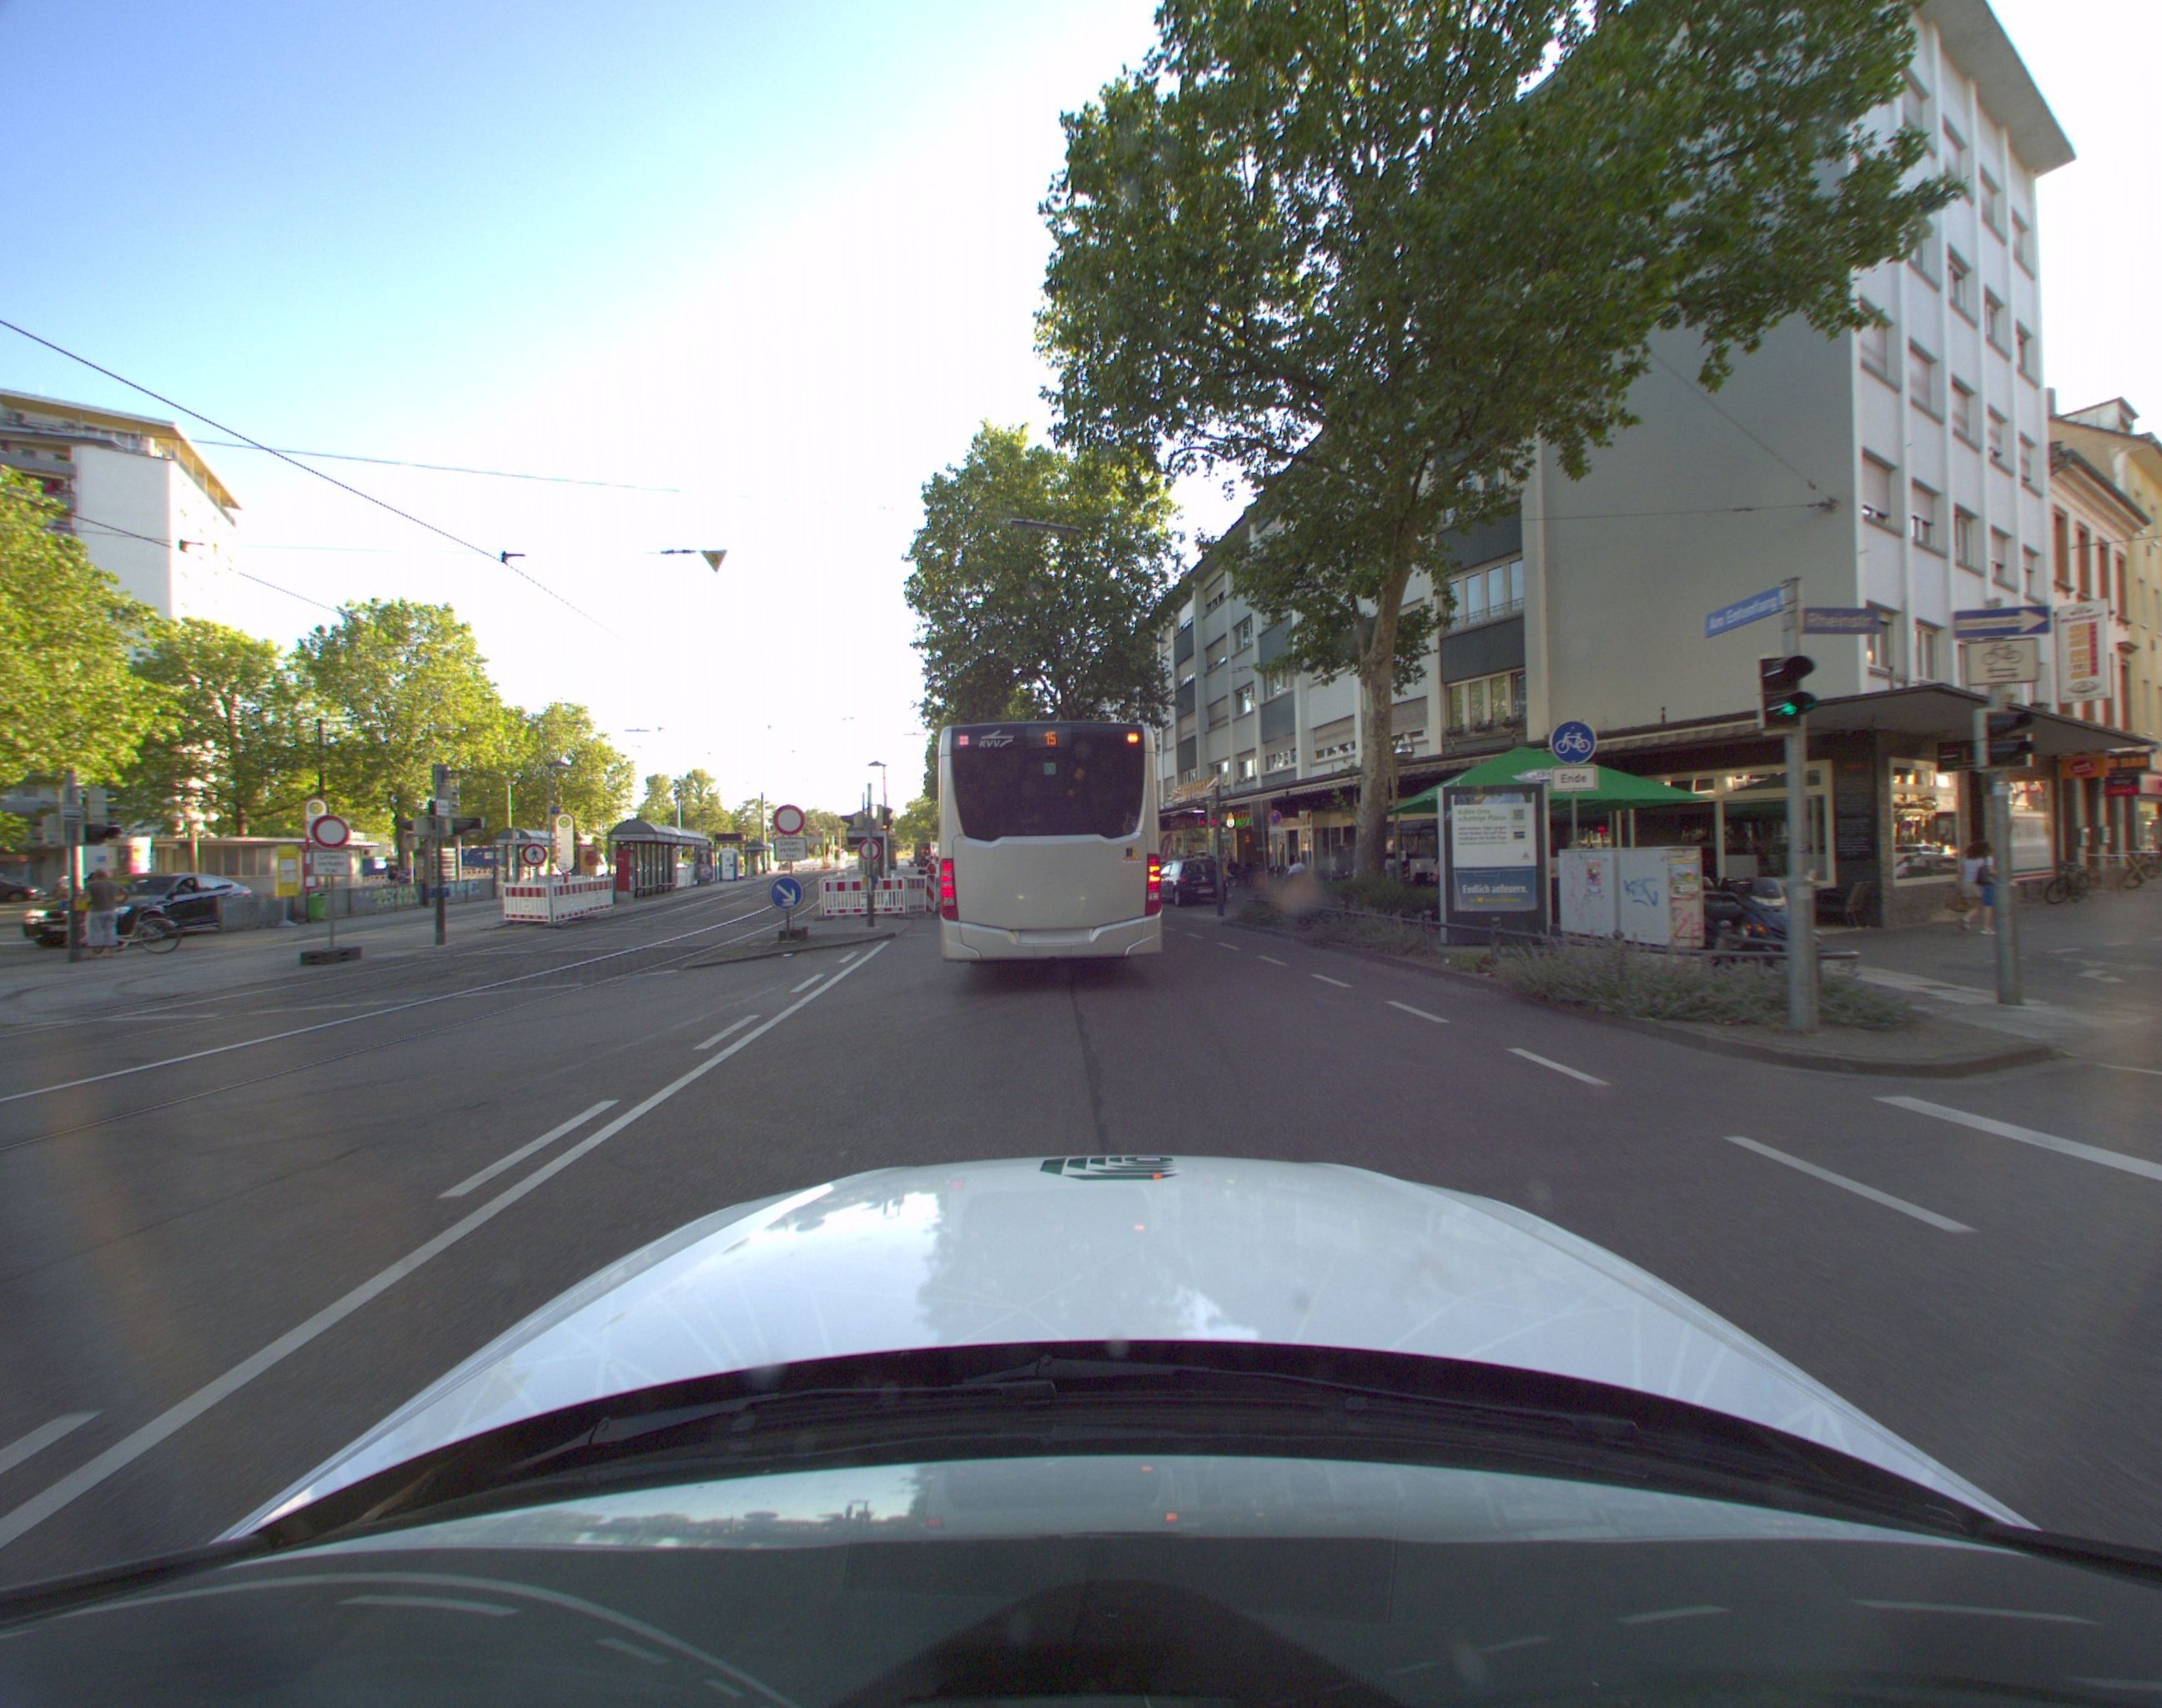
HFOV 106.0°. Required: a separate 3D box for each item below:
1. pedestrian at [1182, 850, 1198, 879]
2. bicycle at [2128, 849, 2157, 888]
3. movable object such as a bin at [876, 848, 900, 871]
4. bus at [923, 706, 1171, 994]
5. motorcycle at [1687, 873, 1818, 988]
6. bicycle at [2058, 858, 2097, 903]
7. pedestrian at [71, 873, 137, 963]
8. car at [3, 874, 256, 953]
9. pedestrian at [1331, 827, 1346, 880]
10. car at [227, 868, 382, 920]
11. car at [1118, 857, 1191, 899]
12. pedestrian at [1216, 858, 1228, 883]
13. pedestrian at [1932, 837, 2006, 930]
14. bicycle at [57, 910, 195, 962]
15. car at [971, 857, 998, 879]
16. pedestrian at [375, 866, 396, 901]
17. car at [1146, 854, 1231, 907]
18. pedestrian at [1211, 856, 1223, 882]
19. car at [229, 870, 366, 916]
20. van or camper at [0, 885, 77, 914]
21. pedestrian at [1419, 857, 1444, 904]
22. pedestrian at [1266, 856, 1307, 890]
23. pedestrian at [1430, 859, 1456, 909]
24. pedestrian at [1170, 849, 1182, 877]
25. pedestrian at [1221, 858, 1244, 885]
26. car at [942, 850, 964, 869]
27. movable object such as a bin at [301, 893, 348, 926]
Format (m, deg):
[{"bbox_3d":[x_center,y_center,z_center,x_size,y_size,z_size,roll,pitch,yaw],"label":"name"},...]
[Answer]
[{"bbox_3d":[4.868,0.473,36.370,0.592,1.256,0.391,-1,0,-10],"label":"pedestrian"},{"bbox_3d":[31.531,0.422,24.187,1.724,1.040,0.292,-4,-1,-31],"label":"bicycle"},{"bbox_3d":[-21.716,0.648,91.597,2.497,2.477,5.331,-1,0,-13],"label":"movable object such as a bin"},{"bbox_3d":[-0.652,-0.027,13.982,2.652,3.098,10.202,-1,0,-3],"label":"bus"},{"bbox_3d":[7.580,0.819,9.261,0.566,1.158,1.466,1,0,14],"label":"motorcycle"},{"bbox_3d":[23.905,0.624,19.530,1.724,1.041,0.292,-1,-3,-31],"label":"bicycle"},{"bbox_3d":[-19.487,1.264,16.250,0.722,1.725,0.397,-1,0,-17],"label":"pedestrian"},{"bbox_3d":[-22.854,1.334,19.862,1.888,1.585,4.187,-1,0,-14],"label":"car"},{"bbox_3d":[8.397,-0.020,26.579,0.356,1.718,0.309,1,0,-4],"label":"pedestrian"},{"bbox_3d":[-25.707,1.257,27.187,1.888,1.531,4.187,-1,0,-14],"label":"car"},{"bbox_3d":[2.722,0.857,30.829,1.665,1.394,3.396,-4,1,-14],"label":"car"},{"bbox_3d":[6.220,0.721,36.028,0.387,1.122,0.391,-1,0,-12],"label":"pedestrian"},{"bbox_3d":[15.215,0.488,13.969,0.707,1.548,0.608,1,0,32],"label":"pedestrian"},{"bbox_3d":[-19.528,1.668,16.688,1.845,0.942,0.461,-1,0,-17],"label":"bicycle"},{"bbox_3d":[-6.704,0.948,56.428,1.754,1.464,3.990,-1,0,-7],"label":"car"},{"bbox_3d":[-40.659,1.725,47.597,0.711,2.013,0.737,-1,0,-23],"label":"pedestrian"},{"bbox_3d":[3.460,0.815,26.840,1.663,1.516,3.398,-4,1,-12],"label":"car"},{"bbox_3d":[6.113,0.678,36.500,0.392,1.174,0.387,-1,0,-13],"label":"pedestrian"},{"bbox_3d":[-29.578,1.402,30.943,1.888,1.531,4.187,-1,0,-14],"label":"car"},{"bbox_3d":[-63.286,2.729,48.645,1.805,1.552,4.026,-1,0,35],"label":"van or camper"},{"bbox_3d":[9.307,0.697,21.616,0.400,1.238,0.447,-1,0,-28],"label":"pedestrian"},{"bbox_3d":[7.442,0.671,29.528,1.178,1.197,0.922,-1,0,-11],"label":"pedestrian"},{"bbox_3d":[9.131,0.752,20.559,0.453,1.238,0.396,-1,0,-29],"label":"pedestrian"},{"bbox_3d":[4.176,0.394,35.917,0.387,1.256,0.391,-1,0,-12],"label":"pedestrian"},{"bbox_3d":[6.304,0.724,33.849,0.705,1.108,0.763,-1,0,-11],"label":"pedestrian"},{"bbox_3d":[-10.771,0.450,68.401,1.756,1.464,3.985,-1,0,-10],"label":"car"},{"bbox_3d":[-20.955,1.536,22.572,0.671,0.866,0.699,1,0,-14],"label":"movable object such as a bin"}]
